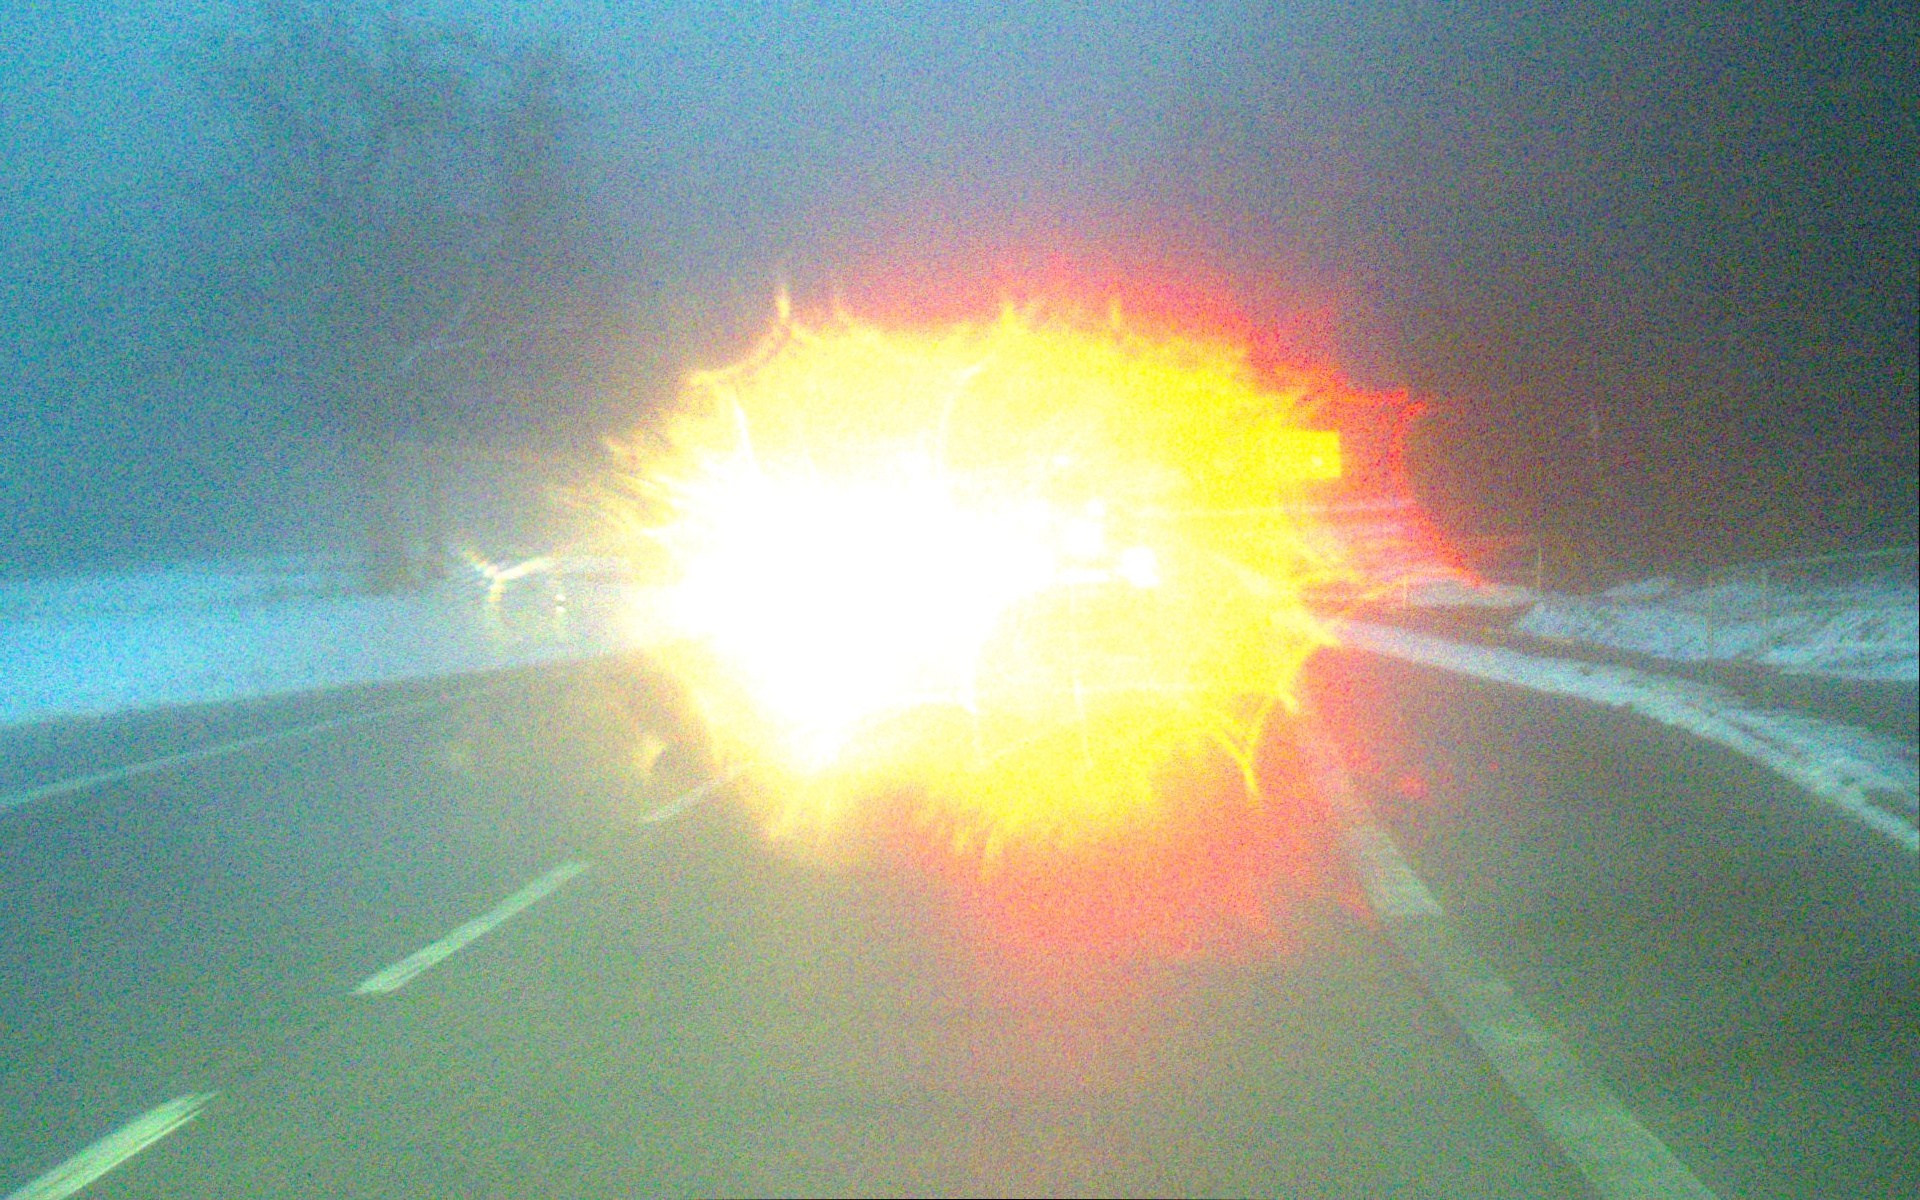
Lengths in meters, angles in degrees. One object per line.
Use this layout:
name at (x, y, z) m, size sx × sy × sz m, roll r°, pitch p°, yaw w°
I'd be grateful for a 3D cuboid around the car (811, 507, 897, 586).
car at (-2.433, -1.224, 78.124) m, size 1.751 × 1.687 × 4.427 m, roll -2°, pitch 1°, yaw -3°

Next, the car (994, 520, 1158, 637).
car at (1.401, -0.303, 43.002) m, size 1.922 × 1.272 × 4.001 m, roll -1°, pitch 3°, yaw 0°

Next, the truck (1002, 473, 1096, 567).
truck at (2.636, -2.412, 103.623) m, size 2.075 × 2.736 × 5.320 m, roll -1°, pitch 1°, yaw -7°
